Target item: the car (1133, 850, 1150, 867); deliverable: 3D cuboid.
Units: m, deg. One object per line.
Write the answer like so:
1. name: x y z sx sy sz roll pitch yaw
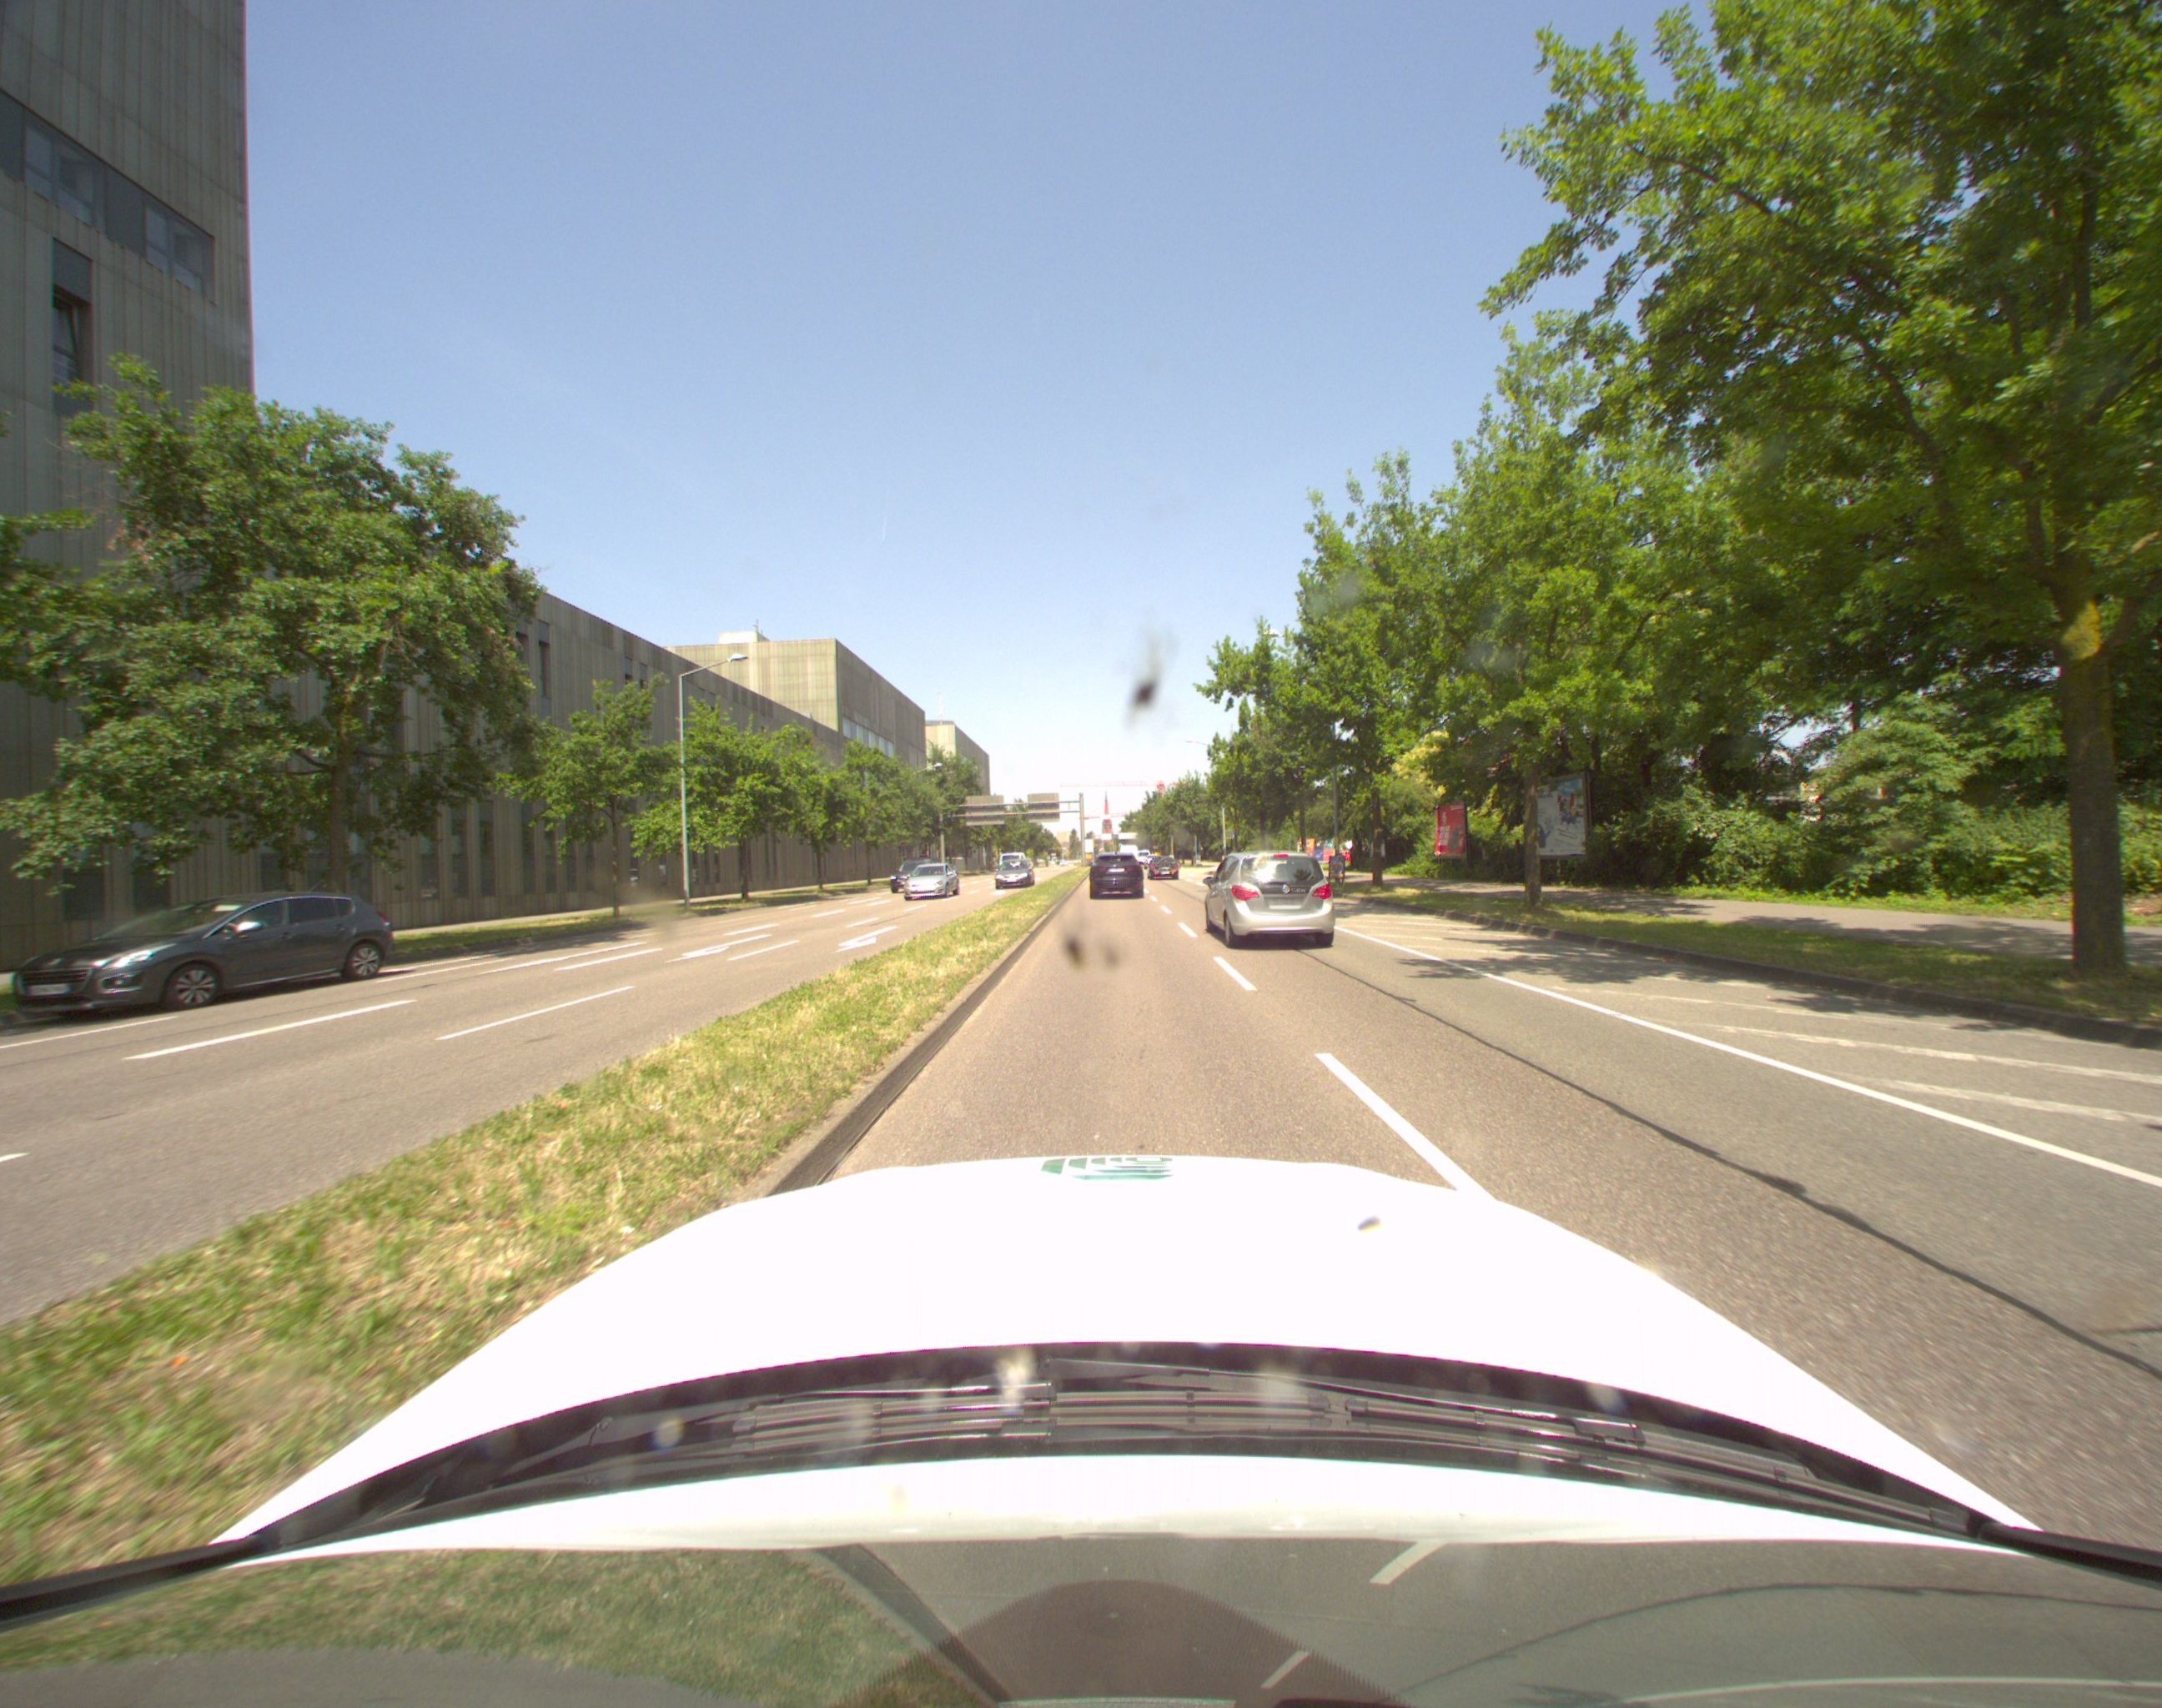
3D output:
1. car: 7.438 0.560 100.474 1.985 2.013 4.003 -2 0 3

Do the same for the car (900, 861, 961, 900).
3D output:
1. car: -6.362 1.084 34.803 1.760 1.460 4.144 -4 0 0

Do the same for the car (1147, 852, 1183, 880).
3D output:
1. car: 5.075 0.720 49.755 2.005 1.517 4.465 -3 -1 4

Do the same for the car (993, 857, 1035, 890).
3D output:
1. car: -3.387 0.957 41.691 1.805 1.466 4.055 -4 0 -2

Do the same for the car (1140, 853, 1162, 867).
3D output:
1. car: 7.205 0.604 84.335 1.650 1.356 4.457 -2 -1 -2

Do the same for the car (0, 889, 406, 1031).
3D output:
1. car: -13.328 1.469 12.681 1.803 1.543 4.372 -4 0 2

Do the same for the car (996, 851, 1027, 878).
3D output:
1. car: -5.657 0.852 67.216 1.902 1.993 4.899 -4 0 1

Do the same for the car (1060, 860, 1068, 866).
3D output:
1. car: -4.164 2.160 200.373 1.804 1.427 4.358 -4 0 0

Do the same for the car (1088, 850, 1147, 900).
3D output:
1. car: 1.374 0.724 30.017 1.989 1.689 4.037 -1 0 3

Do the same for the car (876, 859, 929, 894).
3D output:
1. car: -9.981 1.218 45.890 1.804 1.746 4.645 -4 0 0

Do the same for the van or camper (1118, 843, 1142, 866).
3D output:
1. van or camper: 5.416 0.078 90.470 2.483 2.291 4.925 -3 -1 3

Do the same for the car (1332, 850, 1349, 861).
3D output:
1. car: 29.593 0.184 92.903 1.372 1.187 3.310 -2 0 8

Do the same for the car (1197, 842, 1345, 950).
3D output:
1. car: 3.228 0.661 14.616 1.786 1.612 3.892 -2 0 1
